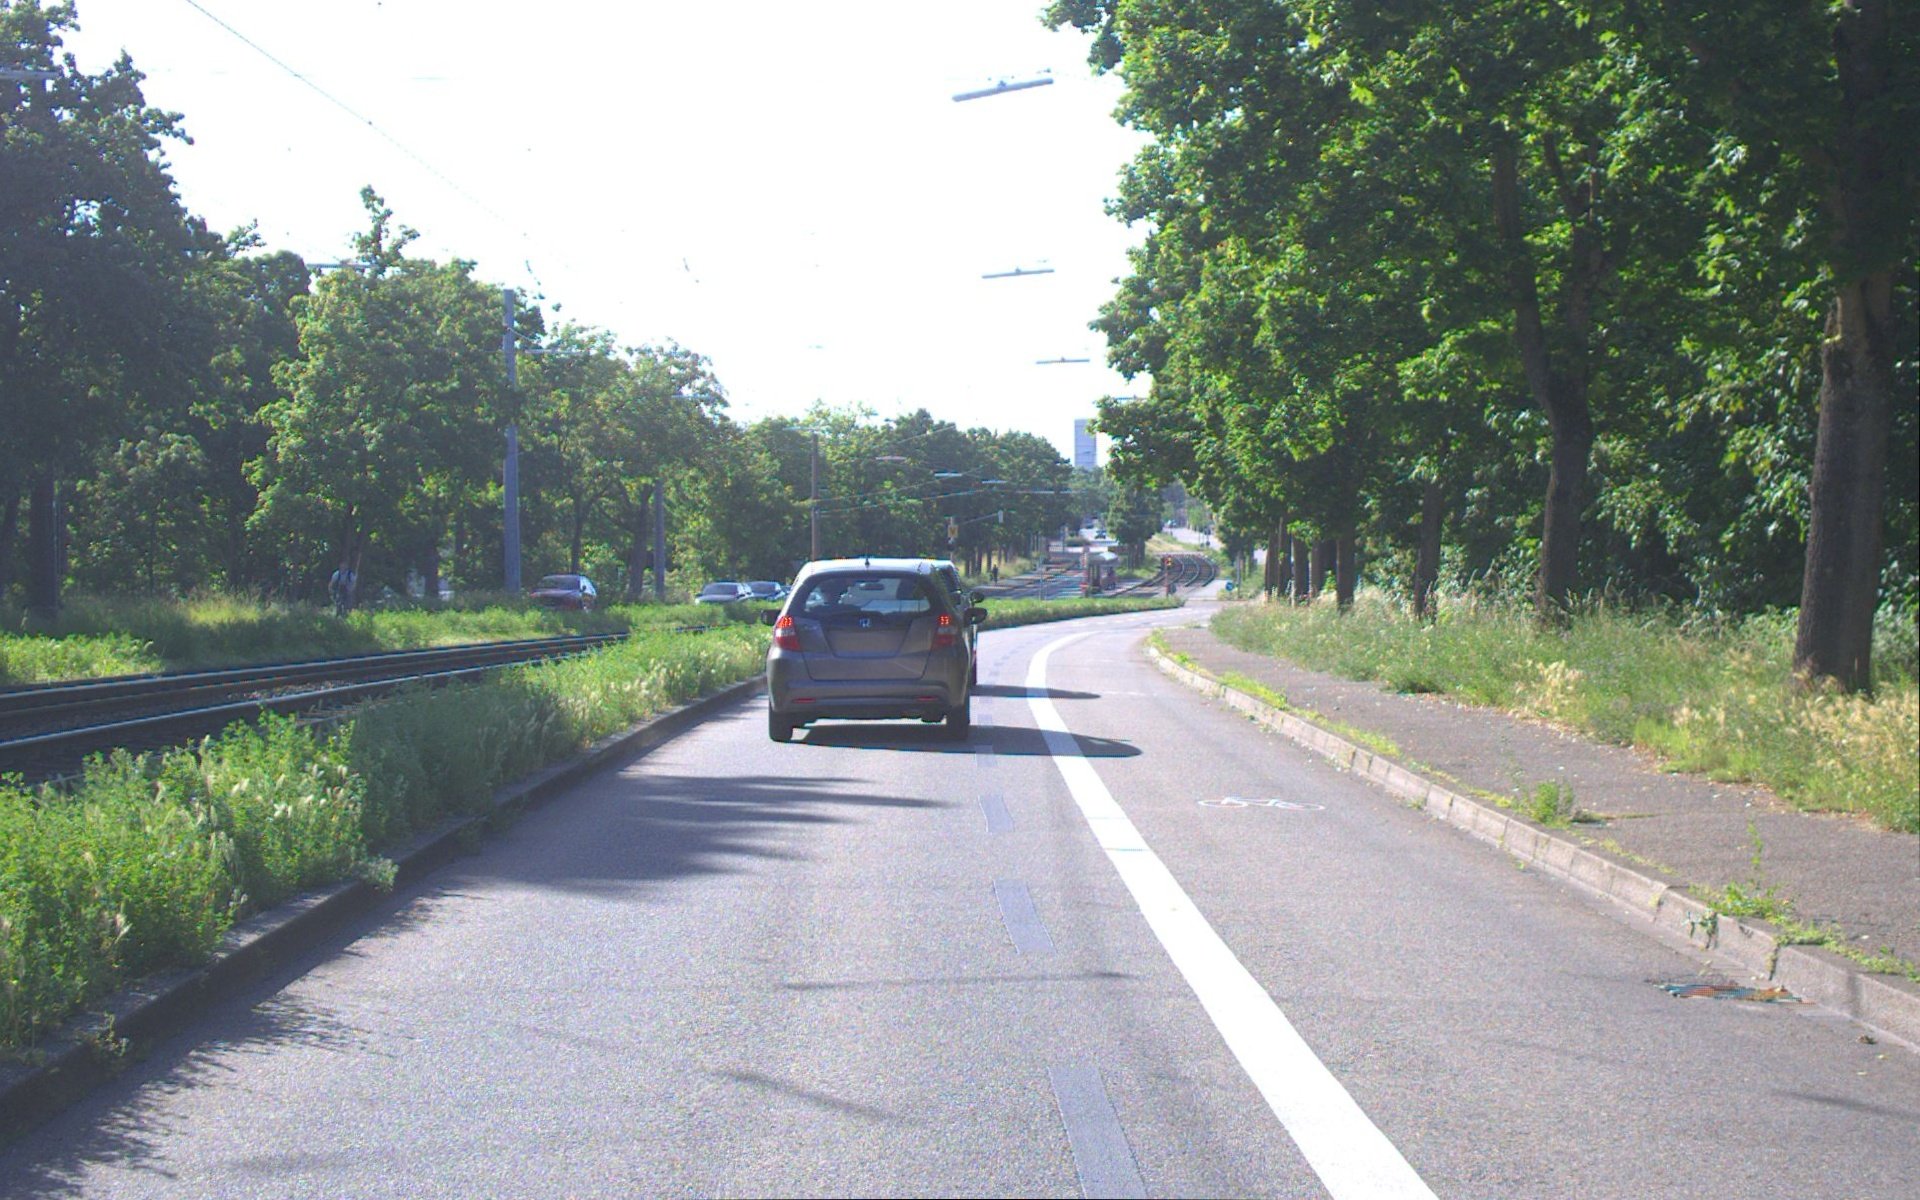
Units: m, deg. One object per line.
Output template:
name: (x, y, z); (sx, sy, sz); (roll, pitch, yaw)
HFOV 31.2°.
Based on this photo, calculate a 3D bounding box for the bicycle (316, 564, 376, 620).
bicycle: (-15.170, -0.212, 84.993); (0.789, 1.191, 3.169); (2, 3, 2)

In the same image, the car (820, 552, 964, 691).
car: (-0.816, 0.228, 42.327); (1.654, 1.502, 3.811); (1, 2, -1)

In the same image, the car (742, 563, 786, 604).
car: (-9.264, -0.793, 162.556); (1.701, 1.678, 4.001); (1, 3, 2)

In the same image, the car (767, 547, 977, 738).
car: (-0.732, 0.317, 29.798); (1.670, 1.502, 3.811); (1, 1, -1)

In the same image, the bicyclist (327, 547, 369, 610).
bicyclist: (-15.158, -0.544, 85.173); (0.790, 1.484, 1.109); (1, 3, 2)

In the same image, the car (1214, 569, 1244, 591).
car: (18.895, -1.415, 241.359); (1.655, 1.308, 3.809); (2, 3, 12)

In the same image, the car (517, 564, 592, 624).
car: (-14.331, -0.235, 121.684); (1.993, 1.869, 4.001); (1, 3, 2)
